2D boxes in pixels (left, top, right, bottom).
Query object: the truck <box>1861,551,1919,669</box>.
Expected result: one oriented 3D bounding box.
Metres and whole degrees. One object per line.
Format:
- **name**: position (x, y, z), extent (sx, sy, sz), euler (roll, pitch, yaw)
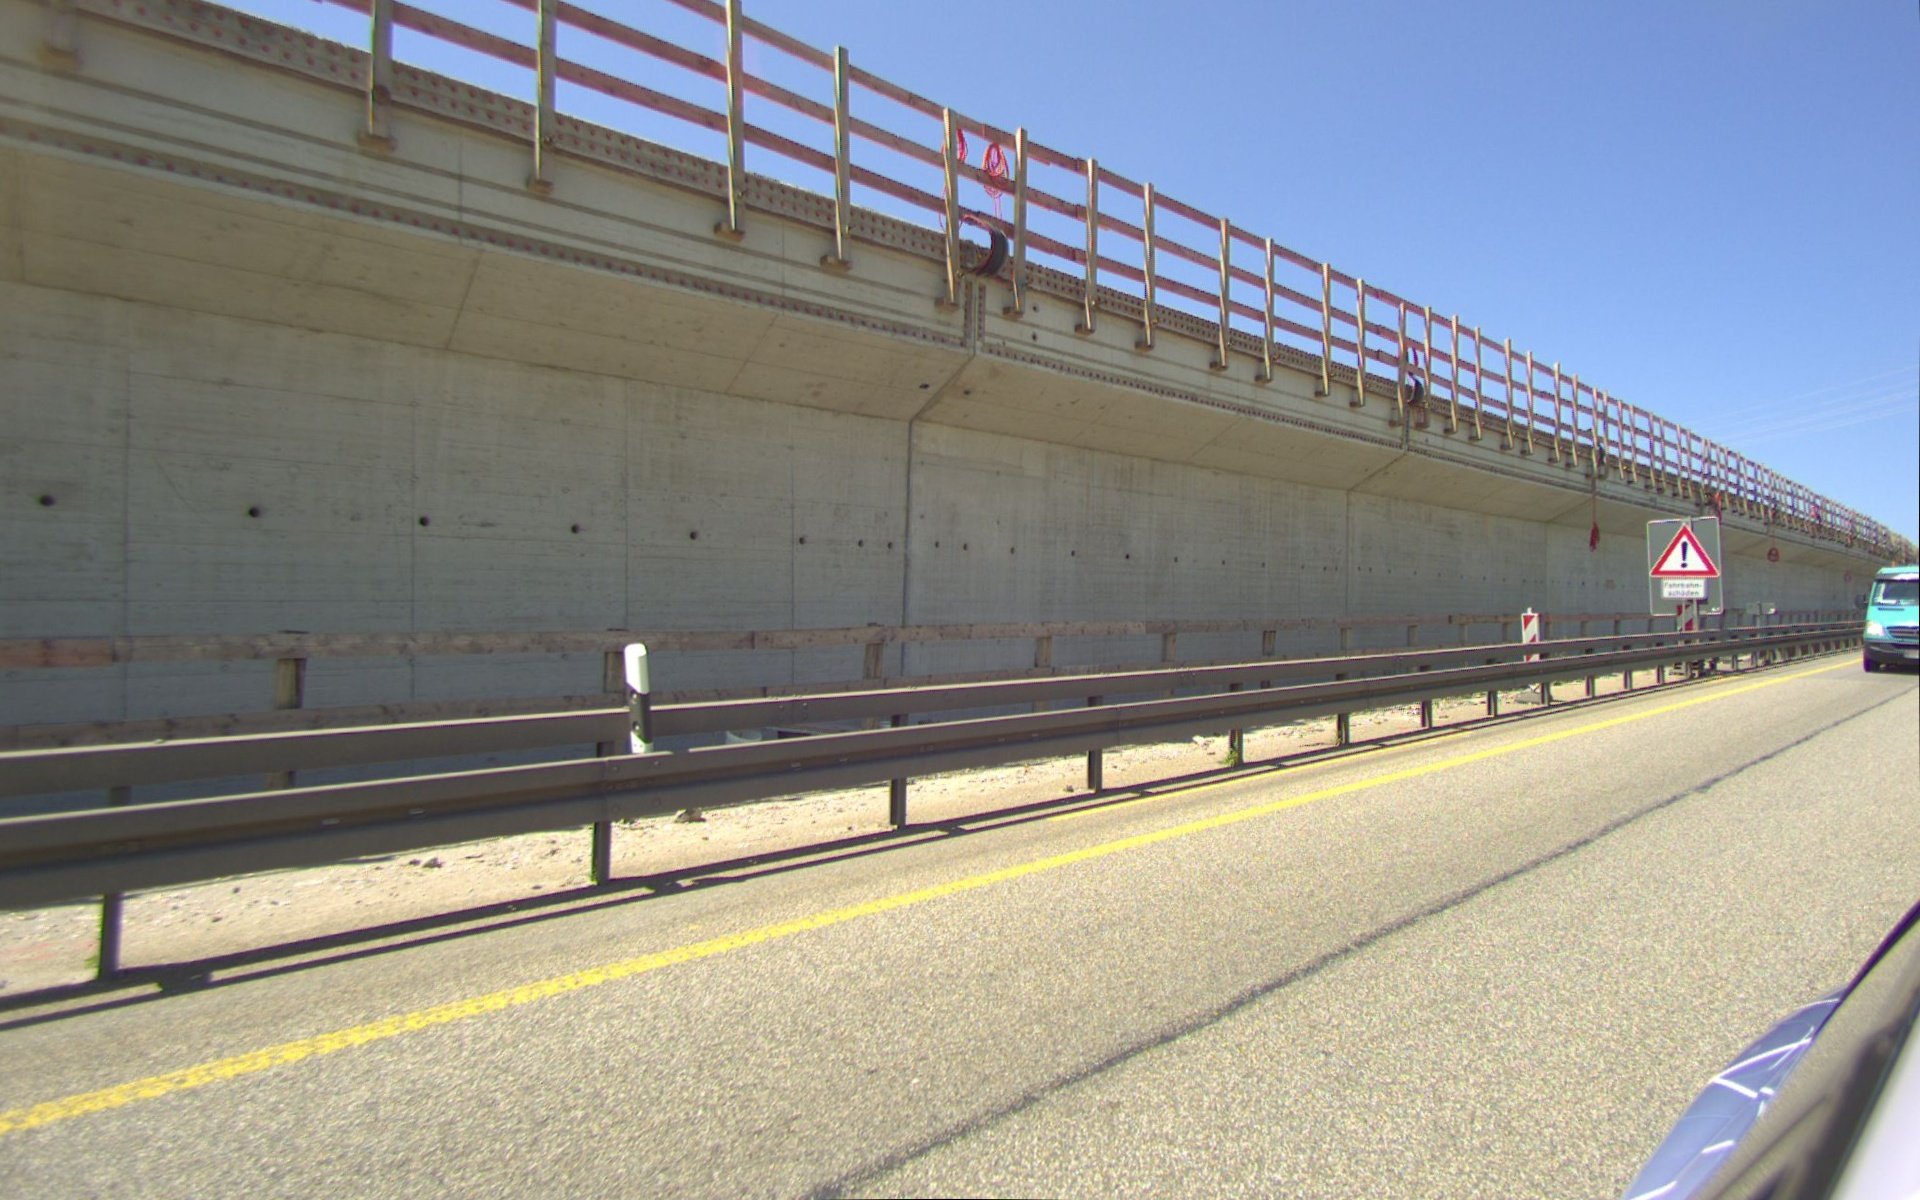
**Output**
- **truck**: position (22.268, 0.160, 22.726), extent (7.303, 2.387, 2.138), euler (-1, 0, -41)
